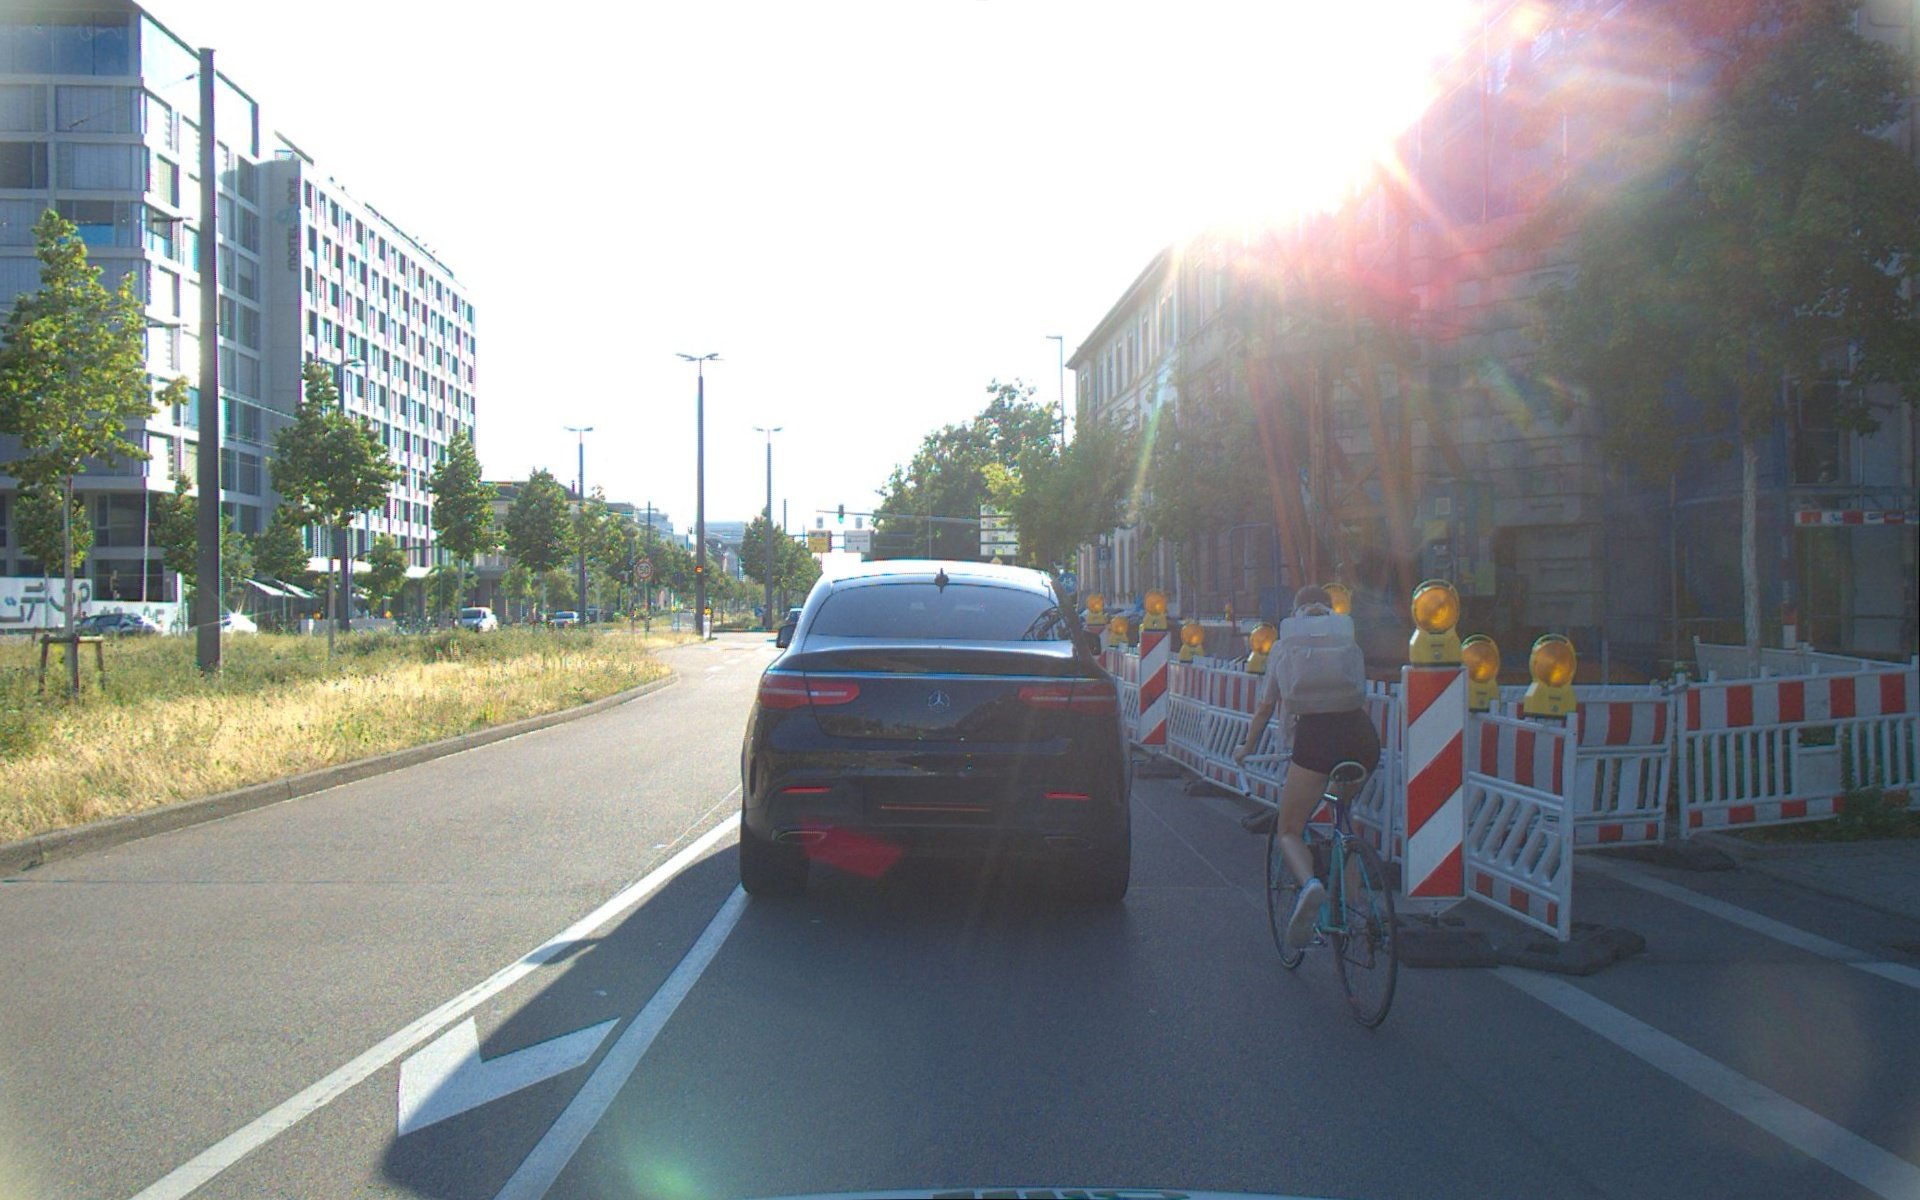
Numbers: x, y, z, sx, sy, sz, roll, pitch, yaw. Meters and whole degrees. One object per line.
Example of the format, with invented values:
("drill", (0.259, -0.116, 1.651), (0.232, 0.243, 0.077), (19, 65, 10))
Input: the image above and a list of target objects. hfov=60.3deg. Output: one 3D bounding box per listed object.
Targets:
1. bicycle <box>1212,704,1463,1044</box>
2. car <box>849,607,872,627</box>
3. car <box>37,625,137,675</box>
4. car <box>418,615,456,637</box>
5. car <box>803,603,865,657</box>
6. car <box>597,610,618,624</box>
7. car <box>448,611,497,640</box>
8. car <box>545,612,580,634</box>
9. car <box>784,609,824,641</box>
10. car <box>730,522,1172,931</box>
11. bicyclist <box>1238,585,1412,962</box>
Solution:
("bicycle", (1.438, 1.000, 6.575), (0.502, 1.070, 1.724), (1, 0, -3))
("car", (-7.459, 1.275, 124.624), (1.674, 1.467, 3.580), (1, 0, -3))
("car", (-31.796, 1.804, 60.322), (1.754, 1.713, 3.637), (1, 0, -2))
("car", (-36.945, 1.833, 116.880), (1.674, 1.467, 3.580), (1, 0, -3))
("car", (-3.572, 0.841, 47.449), (1.674, 1.467, 3.580), (0, 0, -3))
("car", (-38.559, 1.814, 181.085), (1.674, 1.467, 3.580), (1, 0, -3))
("car", (-29.918, 1.573, 101.592), (1.753, 1.713, 3.639), (1, 0, 2))
("car", (-27.445, 1.559, 114.253), (1.674, 1.467, 3.580), (1, 0, -3))
("car", (-7.293, 1.166, 77.677), (1.674, 1.467, 3.580), (1, 0, -3))
("car", (-0.064, 0.579, 9.398), (1.953, 1.803, 3.999), (1, 0, -1))
("bicyclist", (1.432, 0.658, 6.562), (0.512, 1.420, 0.614), (1, -1, -4))
